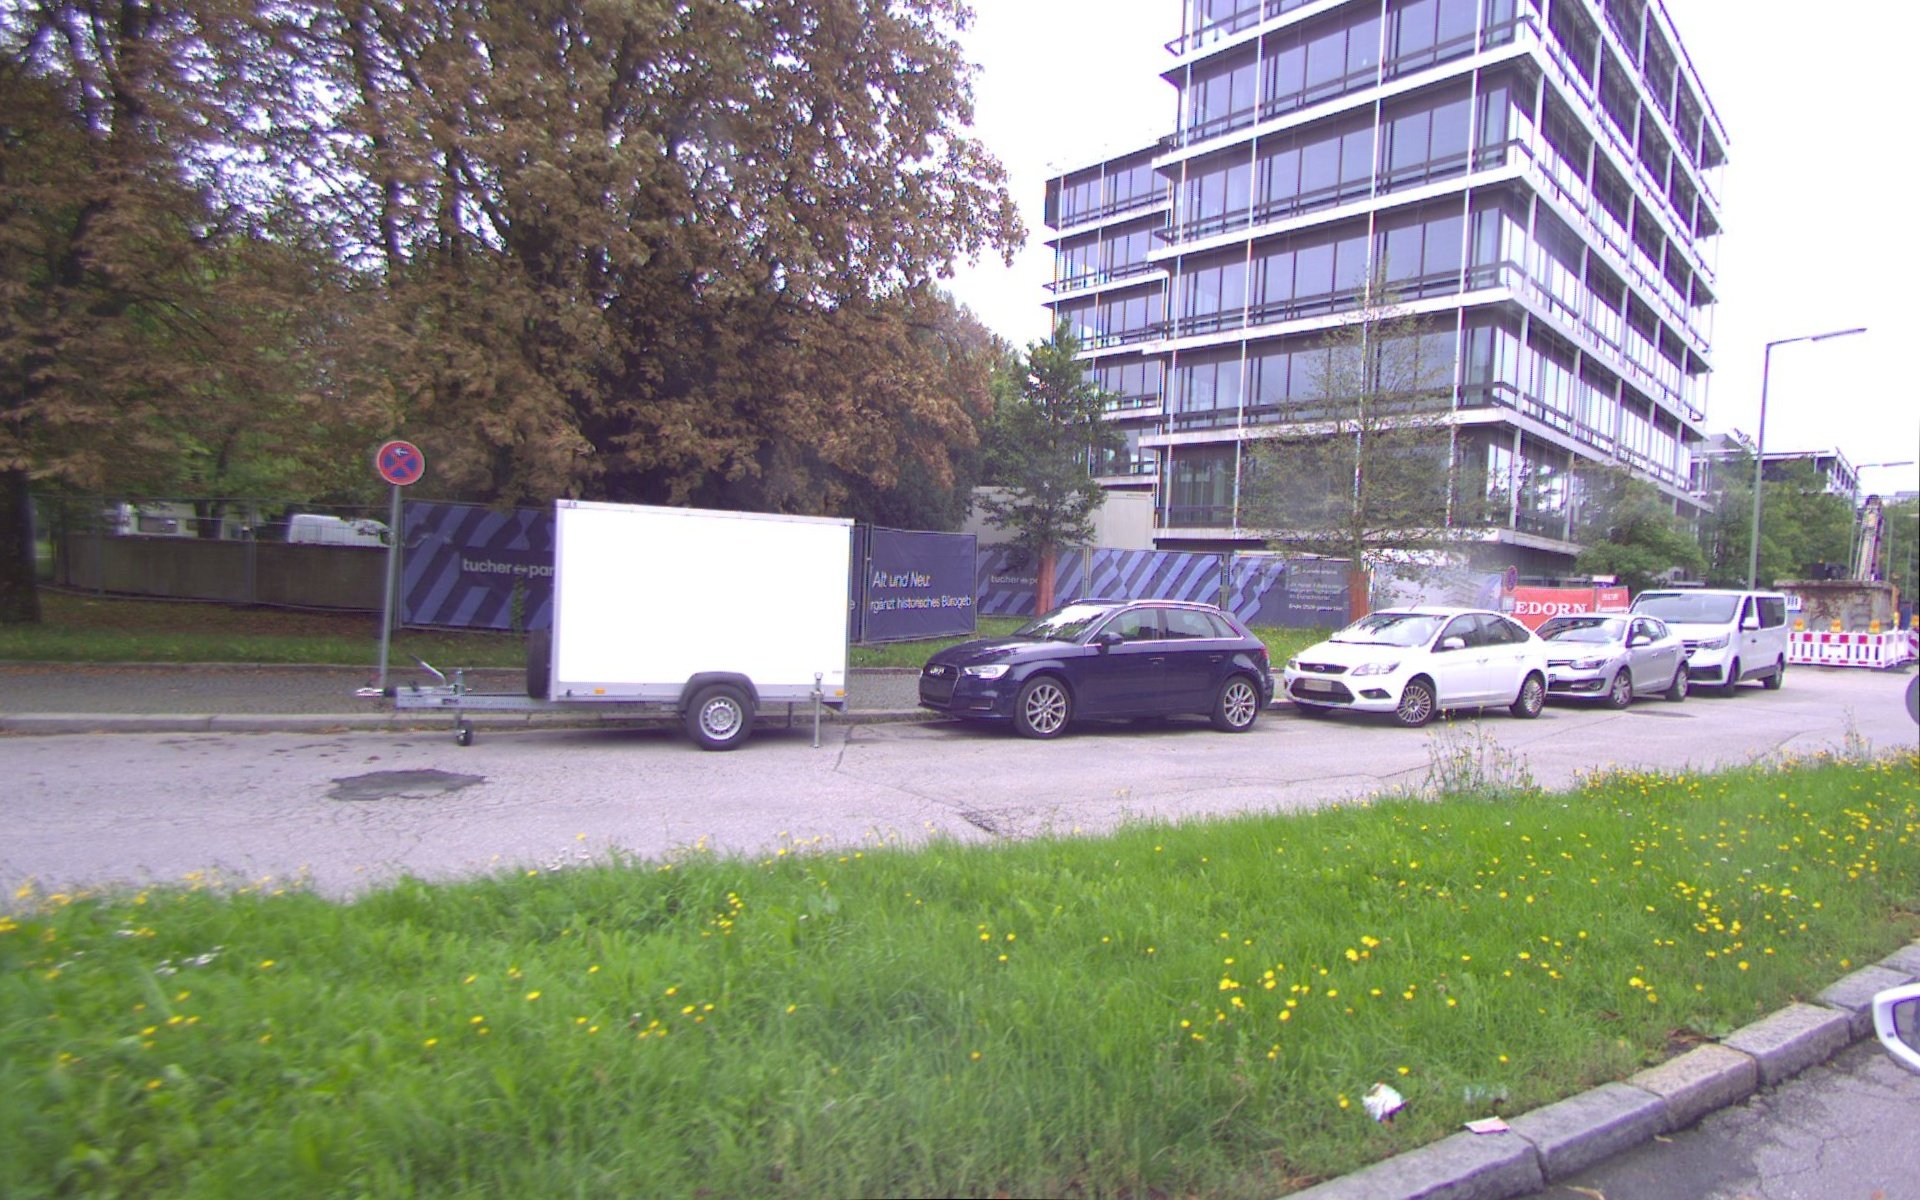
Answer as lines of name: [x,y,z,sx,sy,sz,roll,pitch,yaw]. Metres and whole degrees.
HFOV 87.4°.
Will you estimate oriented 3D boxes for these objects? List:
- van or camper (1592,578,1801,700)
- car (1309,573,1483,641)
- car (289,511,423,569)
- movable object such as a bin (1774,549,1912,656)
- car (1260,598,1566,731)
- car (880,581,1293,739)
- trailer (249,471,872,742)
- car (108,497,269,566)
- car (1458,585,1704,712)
van or camper: [14.554,0.668,19.725,5.331,2.041,1.977,0,2,-39]
car: [13.902,0.172,32.243,1.986,1.947,4.716,0,2,-43]
car: [-30.446,-2.978,50.765,2.048,2.615,5.425,4,2,43]
movable object such as a bin: [35.022,0.026,39.684,8.945,3.767,3.209,0,3,-44]
car: [6.230,0.791,13.697,4.174,1.506,1.757,1,2,-32]
car: [1.449,0.600,11.238,4.274,1.456,1.864,2,1,-28]
trailer: [-3.330,0.068,9.128,4.756,2.041,1.808,1,2,-17]
car: [-34.940,-3.030,45.618,2.048,2.771,5.563,4,2,43]
car: [10.277,0.694,16.518,4.409,1.751,1.978,0,2,-38]
